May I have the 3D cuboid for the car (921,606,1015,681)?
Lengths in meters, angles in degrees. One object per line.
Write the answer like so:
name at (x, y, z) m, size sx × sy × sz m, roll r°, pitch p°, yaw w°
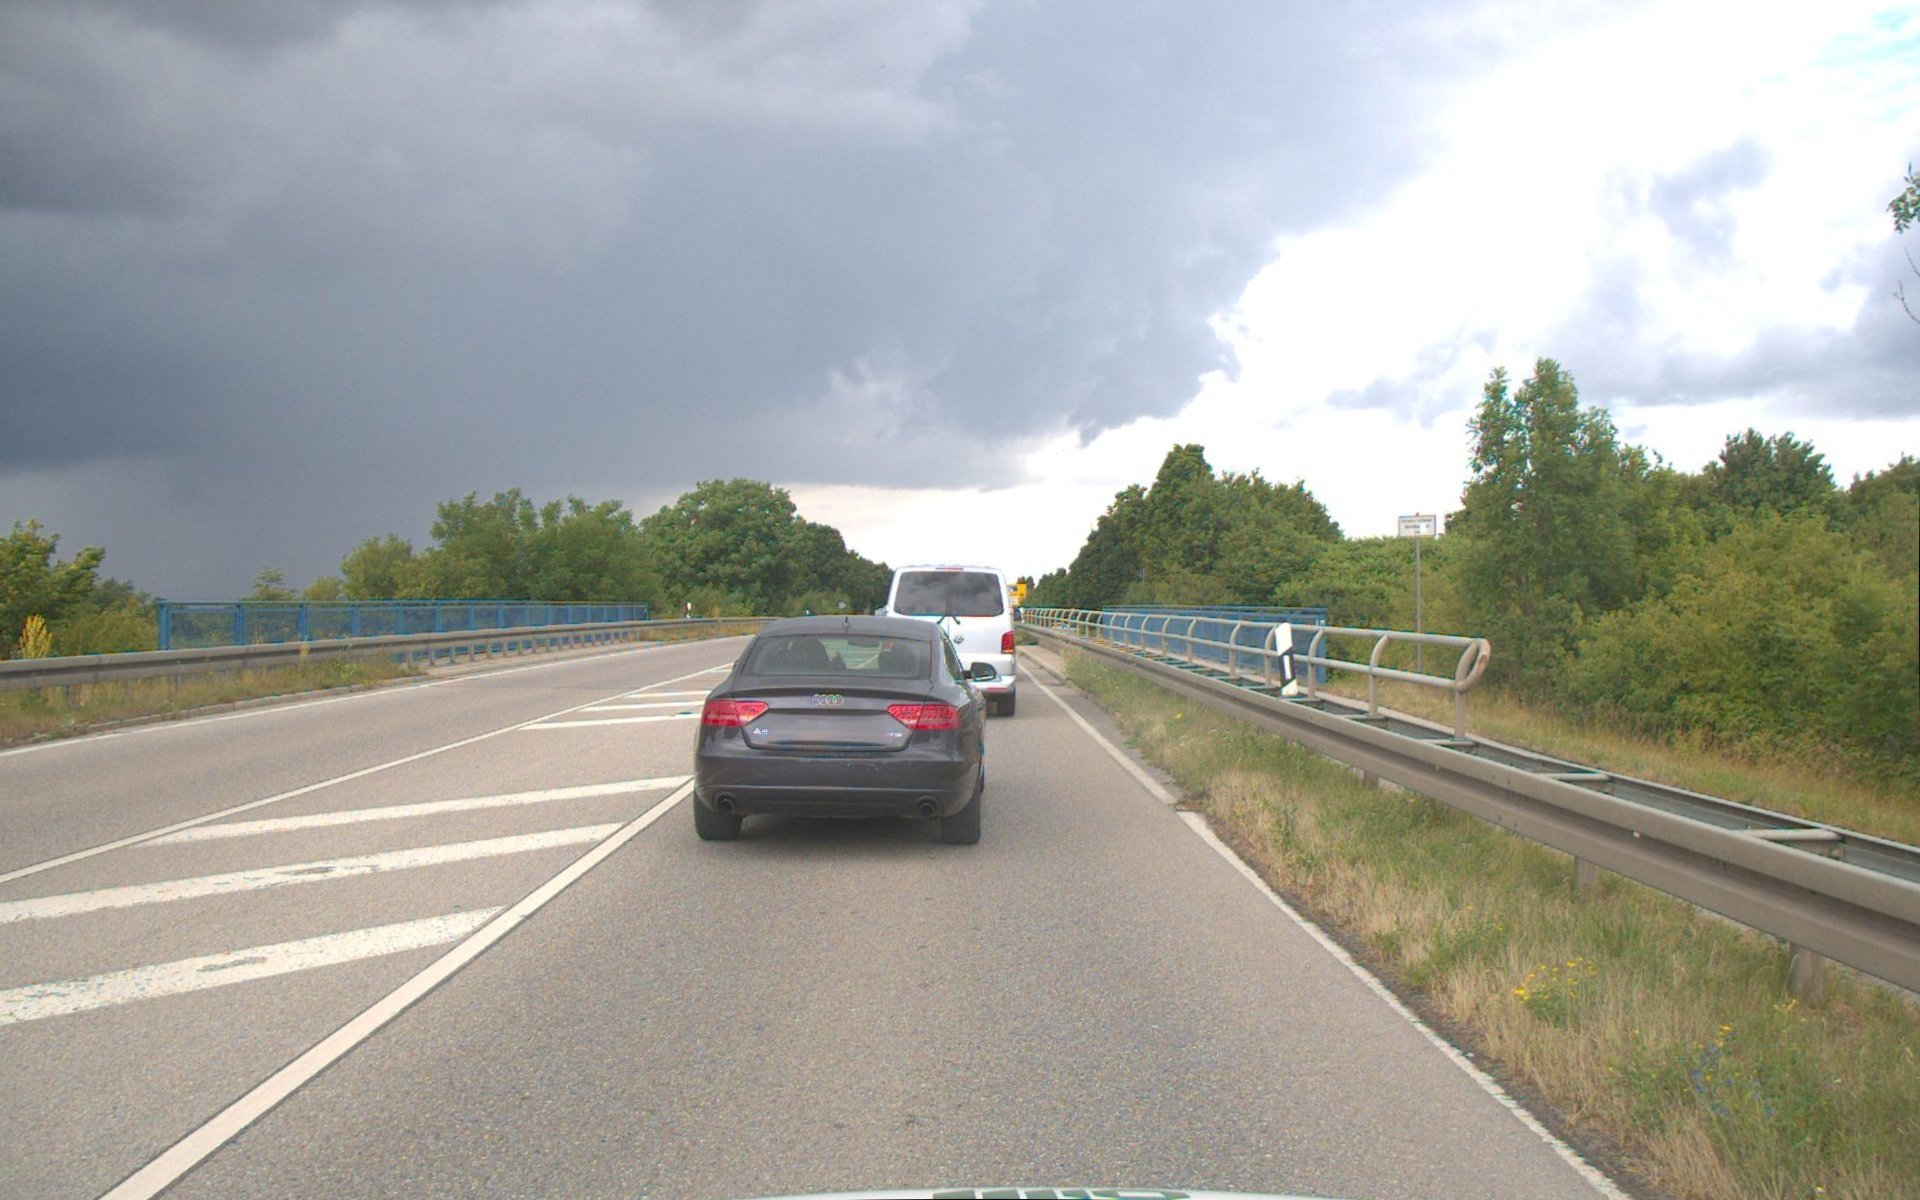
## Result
car at (0.178, 0.835, 33.476) m, size 1.784 × 1.405 × 4.072 m, roll 0°, pitch 0°, yaw 1°

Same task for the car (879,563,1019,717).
car at (-0.148, 0.525, 23.181) m, size 1.791 × 1.969 × 3.999 m, roll 0°, pitch 0°, yaw 0°

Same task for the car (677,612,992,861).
car at (-0.682, 0.787, 11.409) m, size 1.784 × 1.405 × 4.072 m, roll 0°, pitch 0°, yaw 1°
